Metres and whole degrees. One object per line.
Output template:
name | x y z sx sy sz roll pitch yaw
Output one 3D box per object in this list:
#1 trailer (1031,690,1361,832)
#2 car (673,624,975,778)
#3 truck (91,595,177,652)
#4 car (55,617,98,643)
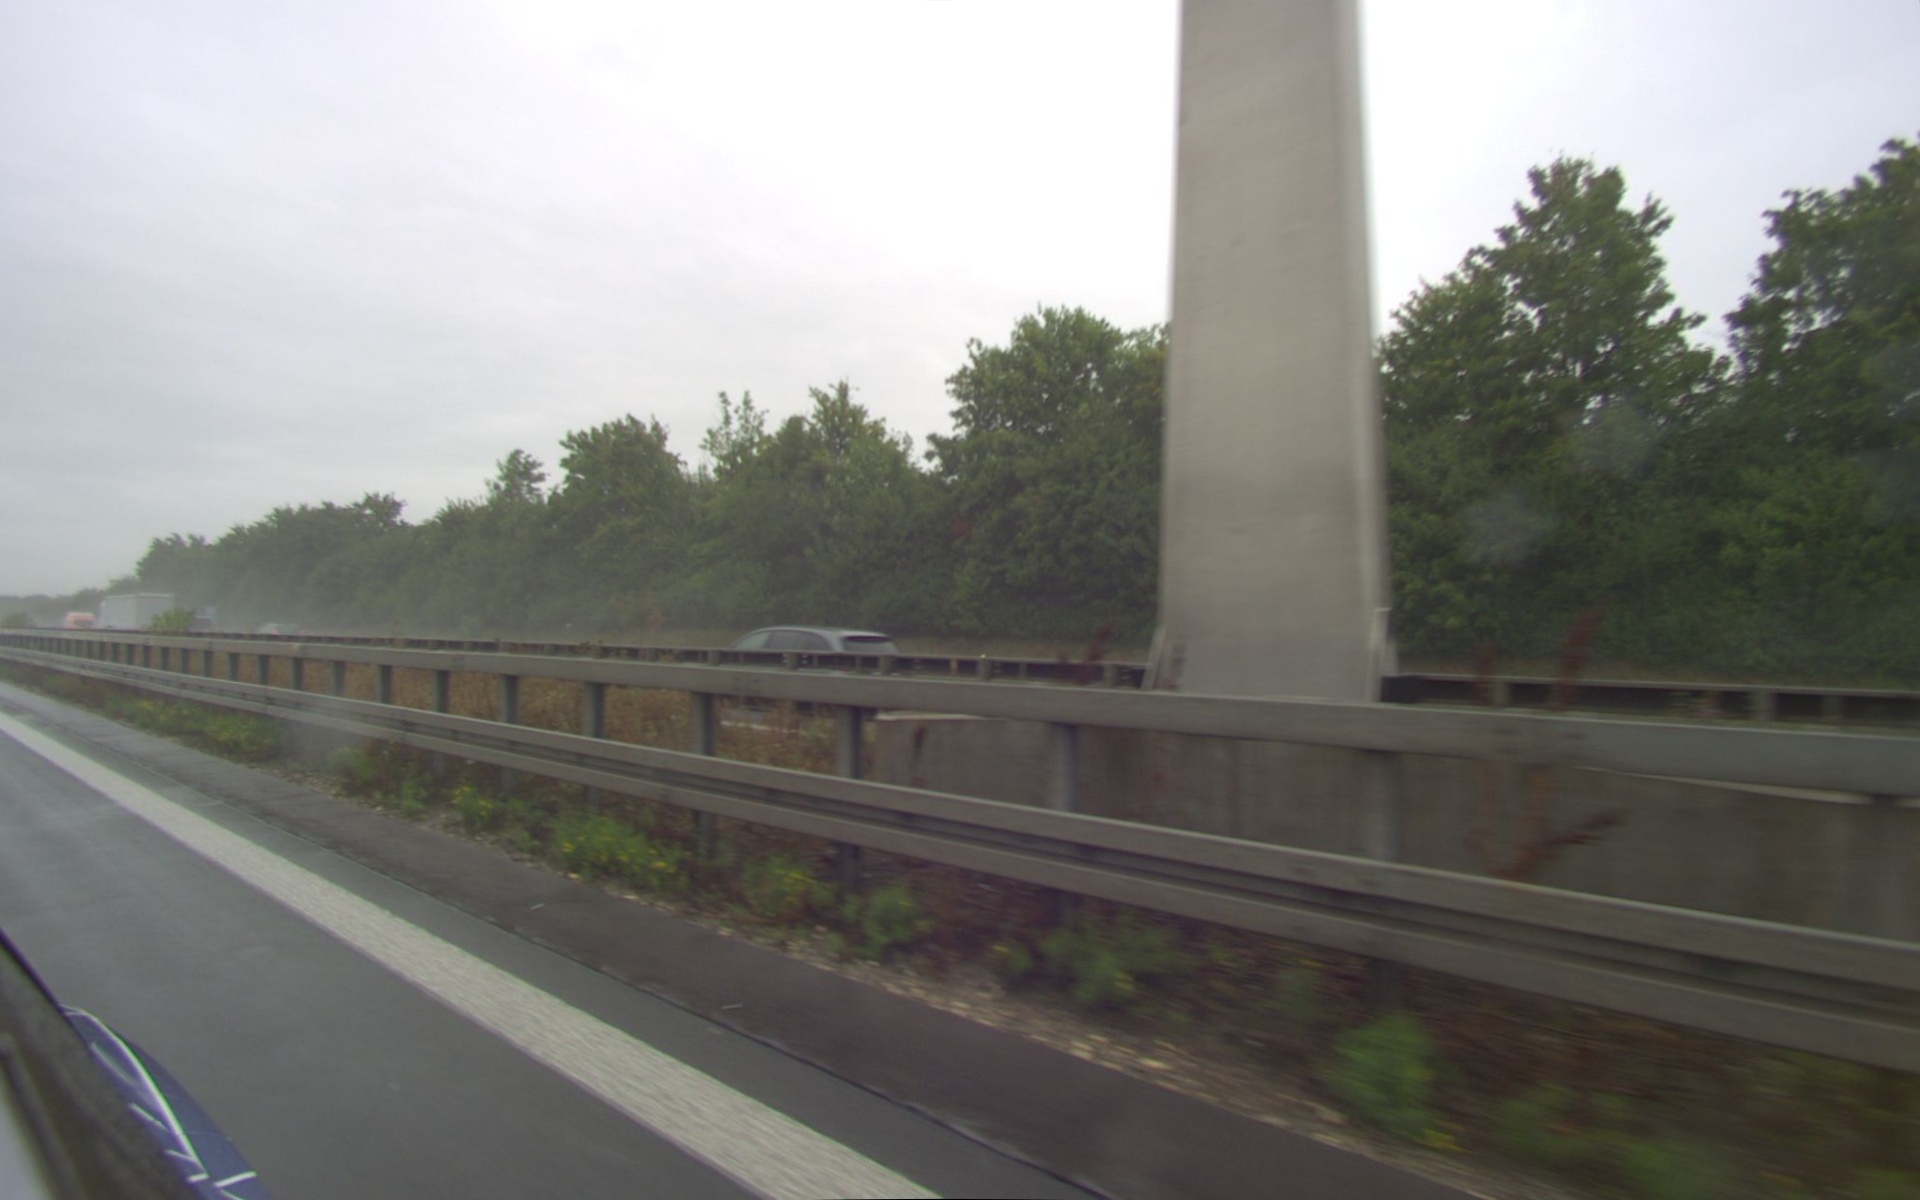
trailer | 2.641 1.725 11.628 3.289 1.172 1.672 -2 -1 40
car | -2.275 1.447 15.886 5.023 2.029 1.781 -2 -1 40
truck | -73.407 2.165 89.724 17.087 4.710 2.935 -2 -1 41
car | -72.243 2.480 82.737 5.011 2.000 1.973 -2 -1 40
